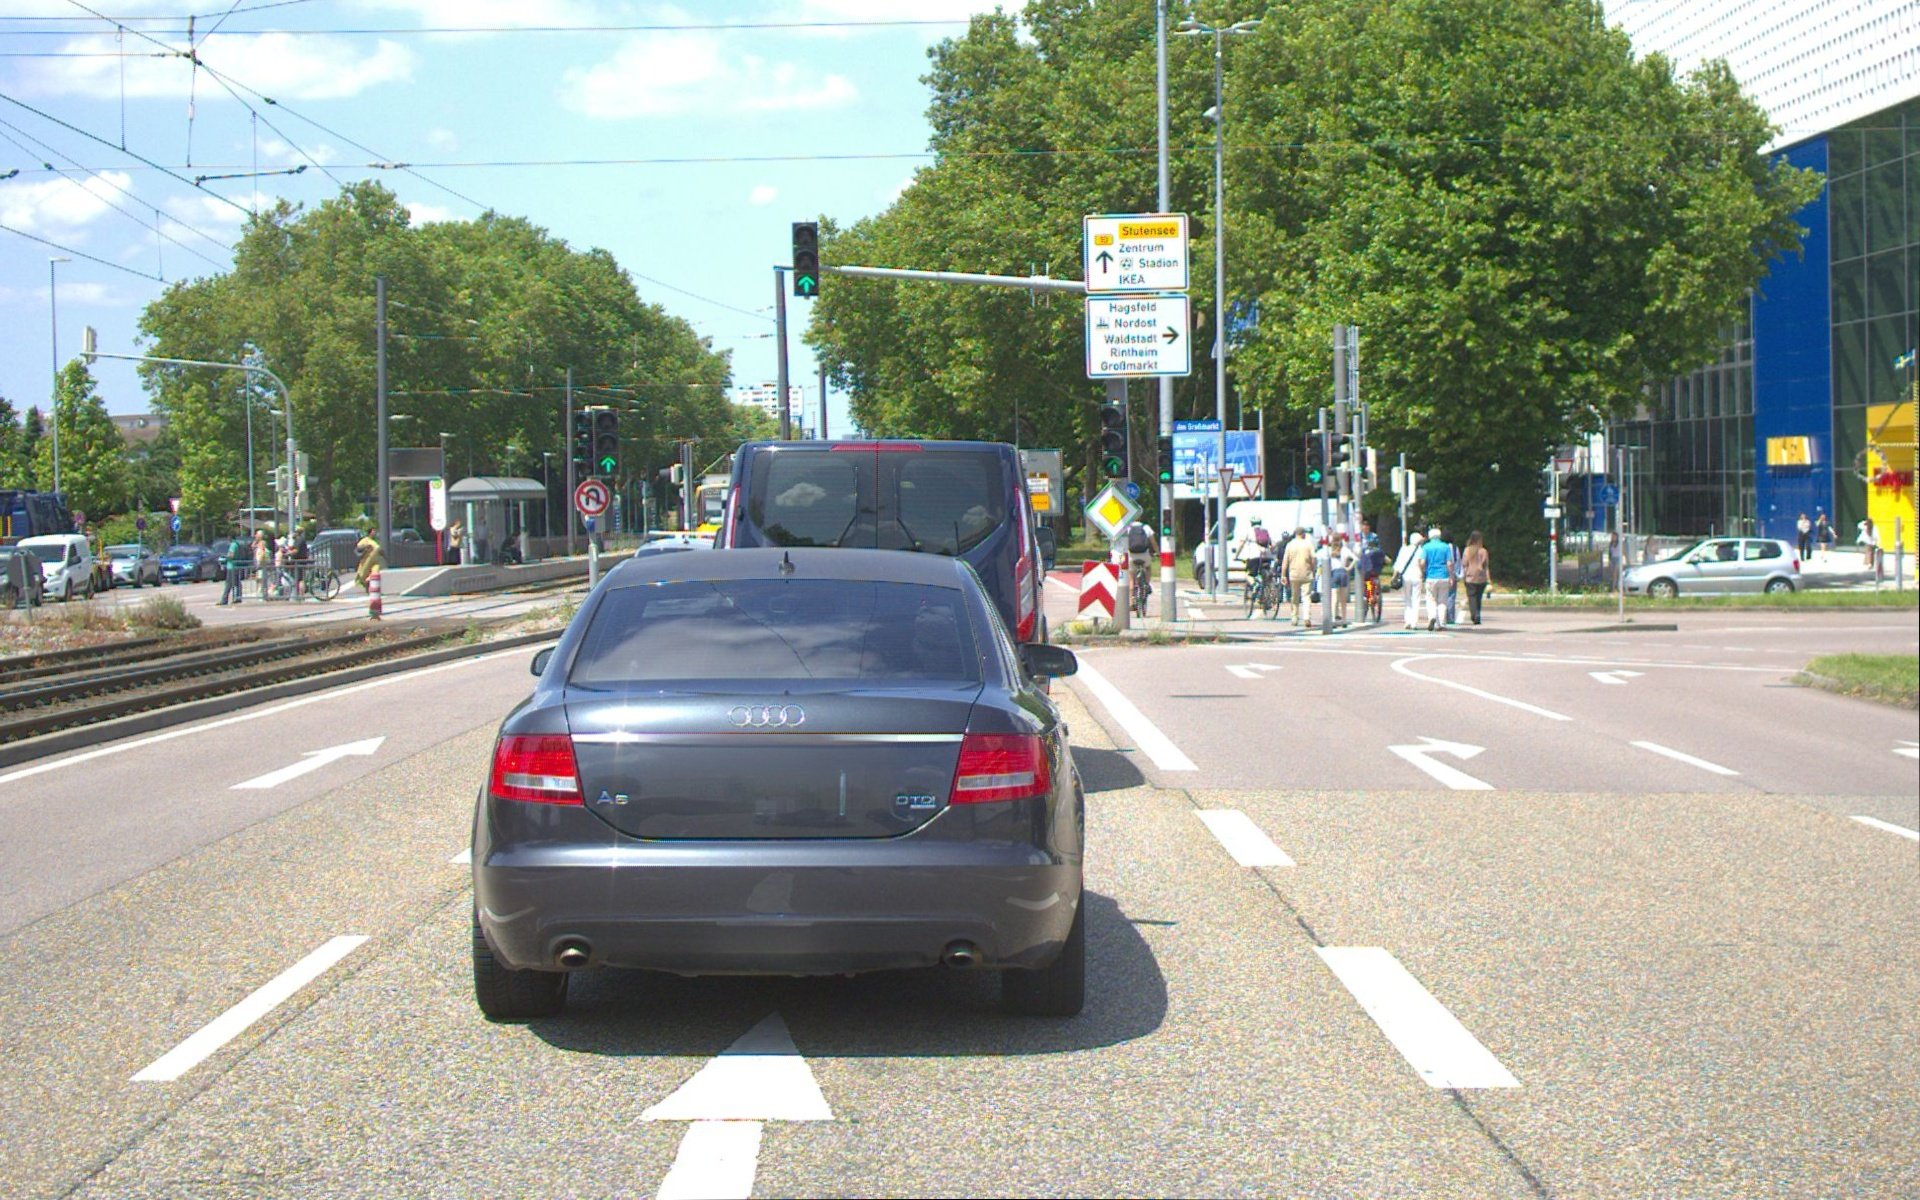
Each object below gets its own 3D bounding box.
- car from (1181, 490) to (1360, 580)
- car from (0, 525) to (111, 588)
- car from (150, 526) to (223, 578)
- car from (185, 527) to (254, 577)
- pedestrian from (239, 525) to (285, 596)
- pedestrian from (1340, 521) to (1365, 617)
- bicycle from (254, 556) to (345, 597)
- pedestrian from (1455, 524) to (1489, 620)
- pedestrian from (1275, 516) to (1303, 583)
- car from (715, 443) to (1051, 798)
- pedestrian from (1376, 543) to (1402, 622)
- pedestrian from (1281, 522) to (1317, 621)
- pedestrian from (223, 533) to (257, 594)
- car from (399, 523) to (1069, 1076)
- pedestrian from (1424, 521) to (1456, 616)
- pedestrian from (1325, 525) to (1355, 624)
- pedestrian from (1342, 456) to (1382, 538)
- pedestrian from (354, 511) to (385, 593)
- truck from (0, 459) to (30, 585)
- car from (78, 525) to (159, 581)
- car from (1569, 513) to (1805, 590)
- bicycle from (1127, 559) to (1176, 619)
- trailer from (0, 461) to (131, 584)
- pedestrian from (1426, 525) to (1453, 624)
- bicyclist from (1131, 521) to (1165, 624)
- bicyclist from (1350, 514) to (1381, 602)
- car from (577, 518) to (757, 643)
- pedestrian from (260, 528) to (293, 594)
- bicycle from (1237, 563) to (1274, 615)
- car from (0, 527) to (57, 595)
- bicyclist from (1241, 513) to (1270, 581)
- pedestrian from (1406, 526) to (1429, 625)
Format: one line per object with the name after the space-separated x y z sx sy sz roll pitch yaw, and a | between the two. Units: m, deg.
8.194 -1.729 91.004 1.994 2.301 4.774 -1 1 -38 | car
-25.007 -1.220 95.153 1.822 1.664 4.461 1 1 1 | car
-28.343 -1.775 126.062 1.817 1.876 4.000 0 1 -1 | car
-28.320 -1.868 131.549 1.817 1.876 4.000 0 1 -1 | car
-16.948 -0.958 83.476 0.824 1.714 0.774 1 1 22 | pedestrian
6.691 -0.536 58.669 0.381 1.629 0.377 0 1 3 | pedestrian
-15.295 -0.547 79.680 2.055 0.922 0.753 0 1 -10 | bicycle
8.891 -0.488 59.666 0.521 1.664 0.494 0 1 3 | pedestrian
7.492 -1.151 78.201 0.494 1.514 0.706 1 1 17 | pedestrian
-0.446 0.078 20.823 1.836 1.943 4.000 0 1 -1 | car
7.097 -0.297 56.876 0.372 1.299 0.365 0 1 3 | pedestrian
5.646 -0.480 57.266 0.554 1.629 0.433 0 1 3 | pedestrian
-16.866 -0.860 80.531 0.685 1.438 0.573 0 1 -4 | pedestrian
-0.627 0.499 11.361 1.792 1.450 4.000 -1 2 0 | car
8.335 -0.547 59.696 0.504 1.629 0.449 0 1 3 | pedestrian
6.280 -0.431 56.857 0.445 1.629 0.430 0 1 3 | pedestrian
9.042 -2.315 77.278 0.685 1.840 0.706 1 1 25 | pedestrian
-14.449 -1.171 84.086 0.685 2.007 0.573 0 1 -4 | pedestrian
-28.471 -2.215 97.004 2.767 3.557 6.440 0 1 -1 | truck
-28.473 -1.605 116.415 1.817 1.876 4.000 0 1 -1 | car
15.062 -1.018 71.395 4.498 1.481 2.000 1 1 3 | car
3.324 -0.203 59.937 0.688 0.990 2.752 0 1 0 | bicycle
-28.579 -2.365 105.221 2.767 3.506 15.879 0 1 -1 | trailer
7.927 -0.431 56.848 0.398 1.629 0.371 0 1 3 | pedestrian
3.264 -0.484 59.707 0.528 1.783 1.088 0 1 0 | bicyclist
8.098 -0.843 68.679 0.529 1.758 0.827 0 1 13 | bicyclist
-3.757 -0.290 44.645 1.993 1.481 4.000 1 2 0 | car
-16.226 -0.930 81.642 0.685 1.559 0.573 0 1 -4 | pedestrian
5.159 -0.199 60.081 0.550 0.874 1.697 0 1 2 | bicycle
-24.639 -1.021 88.158 1.822 1.664 4.462 1 1 0 | car
5.168 -0.924 60.199 0.470 1.189 0.791 0 1 3 | bicyclist
7.572 -0.415 56.901 0.320 1.629 0.377 0 1 3 | pedestrian
